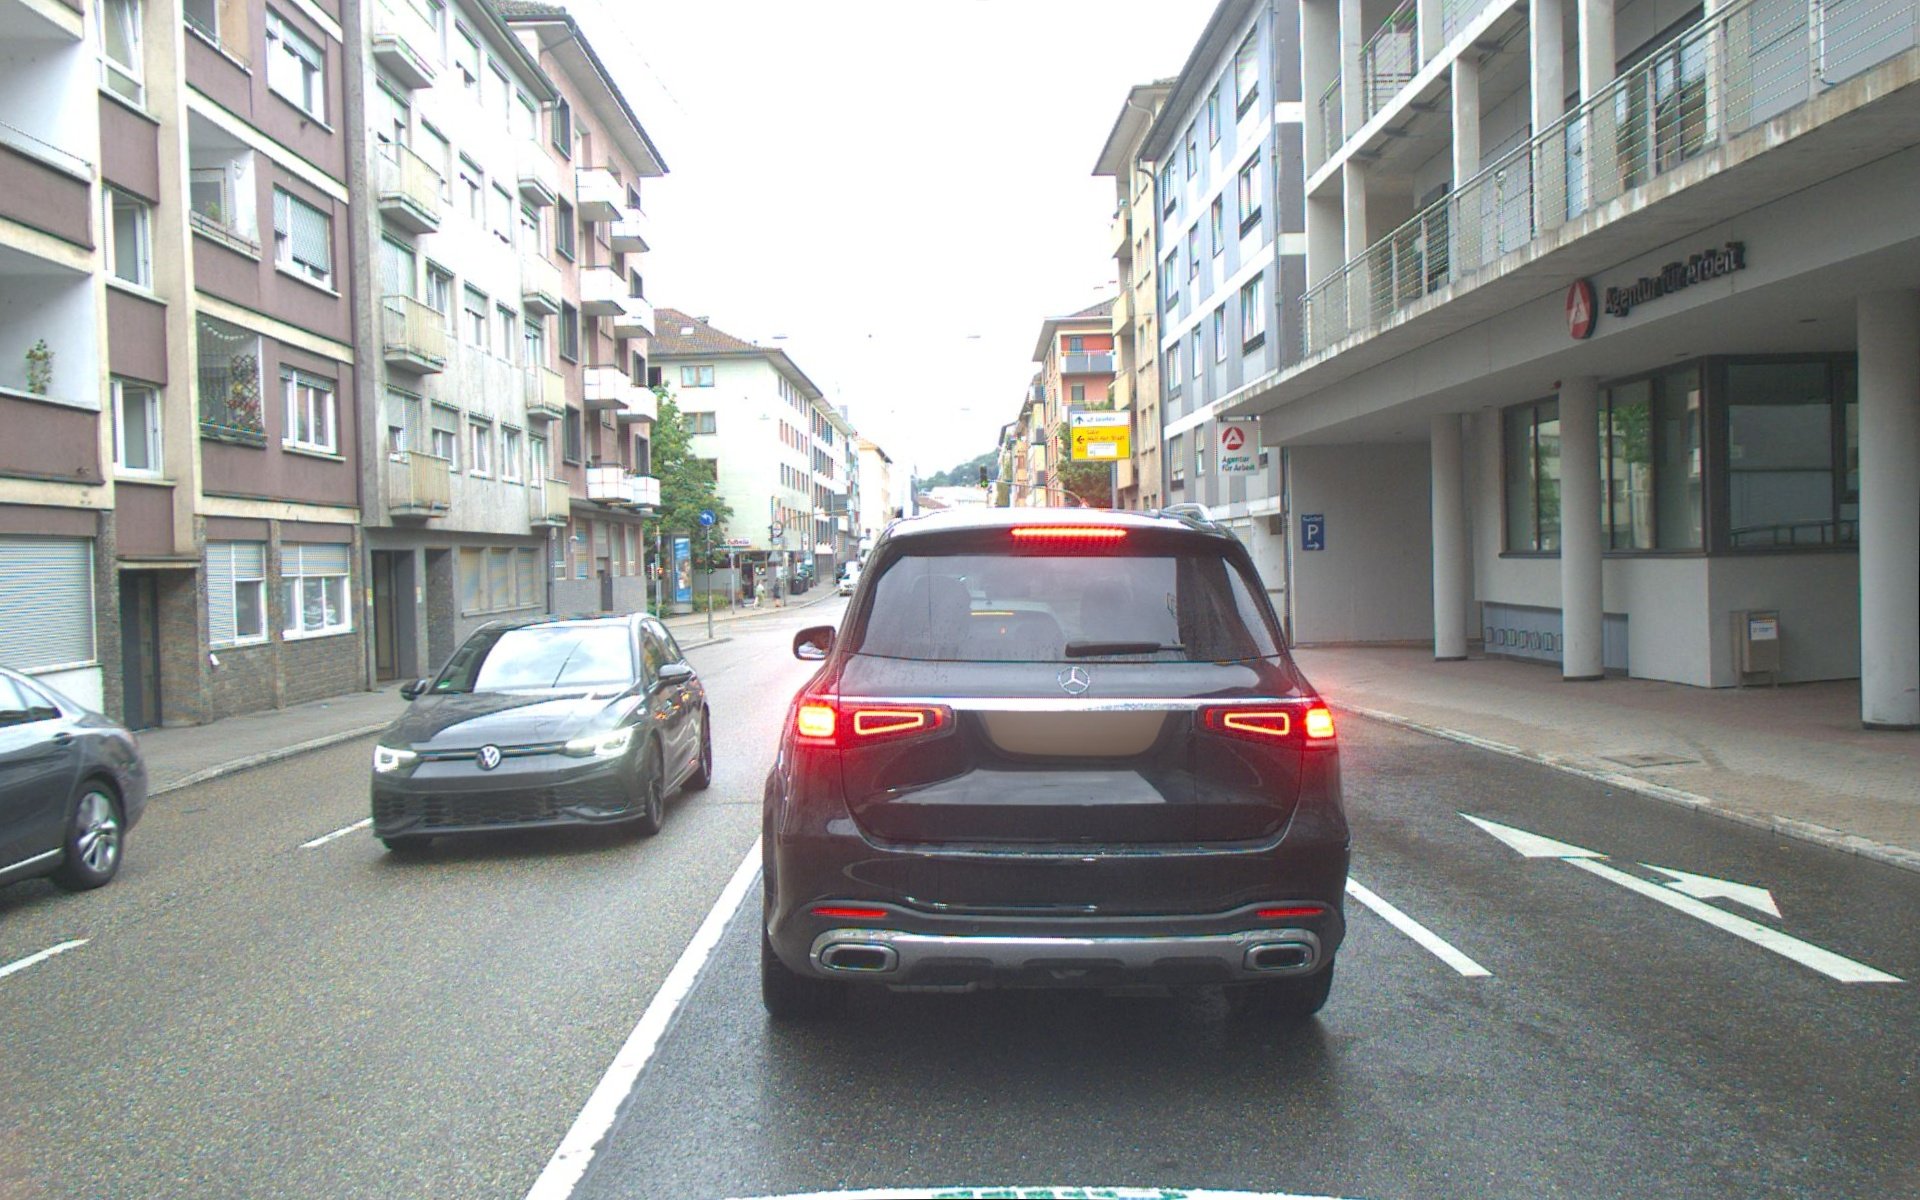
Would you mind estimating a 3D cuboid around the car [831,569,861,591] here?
[{"bbox_3d":[-7.588,-1.340,110.355,1.848,1.286,4.215,-3,0,-3],"label":"car"}]

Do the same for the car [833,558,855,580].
[{"bbox_3d":[-9.213,-2.481,131.478,1.586,1.566,4.215,-3,0,-3],"label":"car"}]

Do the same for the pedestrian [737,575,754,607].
[{"bbox_3d":[-13.230,-0.544,101.877,0.904,1.935,0.706,-2,0,-3],"label":"pedestrian"}]

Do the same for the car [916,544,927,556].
[{"bbox_3d":[-5.825,-7.586,250.009,1.586,1.566,4.215,-3,0,-3],"label":"car"}]

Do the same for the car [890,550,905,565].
[{"bbox_3d":[-7.288,-4.946,193.592,1.586,1.566,4.215,-3,0,-3],"label":"car"}]

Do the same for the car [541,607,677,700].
[{"bbox_3d":[-6.212,0.898,29.699,1.566,1.394,4.361,-4,0,-2],"label":"car"}]

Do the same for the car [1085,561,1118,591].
[{"bbox_3d":[8.091,-1.363,94.670,1.636,1.616,3.331,-2,1,1],"label":"car"}]

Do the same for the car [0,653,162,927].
[{"bbox_3d":[-5.918,1.085,8.410,1.661,1.394,4.364,-4,0,-2],"label":"car"}]

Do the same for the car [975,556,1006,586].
[{"bbox_3d":[2.004,-1.908,110.247,1.689,1.790,4.215,-3,0,-3],"label":"car"}]

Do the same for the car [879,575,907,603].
[{"bbox_3d":[-4.129,-0.644,101.158,1.586,1.566,4.215,-3,0,-3],"label":"car"}]

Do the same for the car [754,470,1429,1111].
[{"bbox_3d":[0.357,0.566,7.008,1.944,1.836,4.389,1,0,-1],"label":"car"}]

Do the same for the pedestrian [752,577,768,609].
[{"bbox_3d":[-11.298,-0.386,93.307,0.622,1.795,0.774,-2,0,13],"label":"pedestrian"}]

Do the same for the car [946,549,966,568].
[{"bbox_3d":[-0.369,-3.966,157.518,1.586,1.566,4.215,-3,0,-3],"label":"car"}]

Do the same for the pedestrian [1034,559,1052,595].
[{"bbox_3d":[4.851,-1.342,96.961,0.904,2.049,0.706,-2,0,-3],"label":"pedestrian"}]

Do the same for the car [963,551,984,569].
[{"bbox_3d":[1.178,-3.543,145.983,1.586,1.411,4.215,-3,0,-3],"label":"car"}]

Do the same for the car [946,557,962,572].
[{"bbox_3d":[-0.717,-4.019,187.445,1.586,1.566,4.215,-3,0,-3],"label":"car"}]

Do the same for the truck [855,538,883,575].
[{"bbox_3d":[-8.604,-4.052,156.929,2.430,3.099,9.914,-3,0,-3],"label":"truck"}]

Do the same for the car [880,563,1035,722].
[{"bbox_3d":[-0.130,0.487,20.815,1.716,1.762,4.215,-1,0,-3],"label":"car"}]

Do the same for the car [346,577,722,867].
[{"bbox_3d":[-2.821,0.740,11.902,1.661,1.608,4.216,-4,-1,-2],"label":"car"}]
